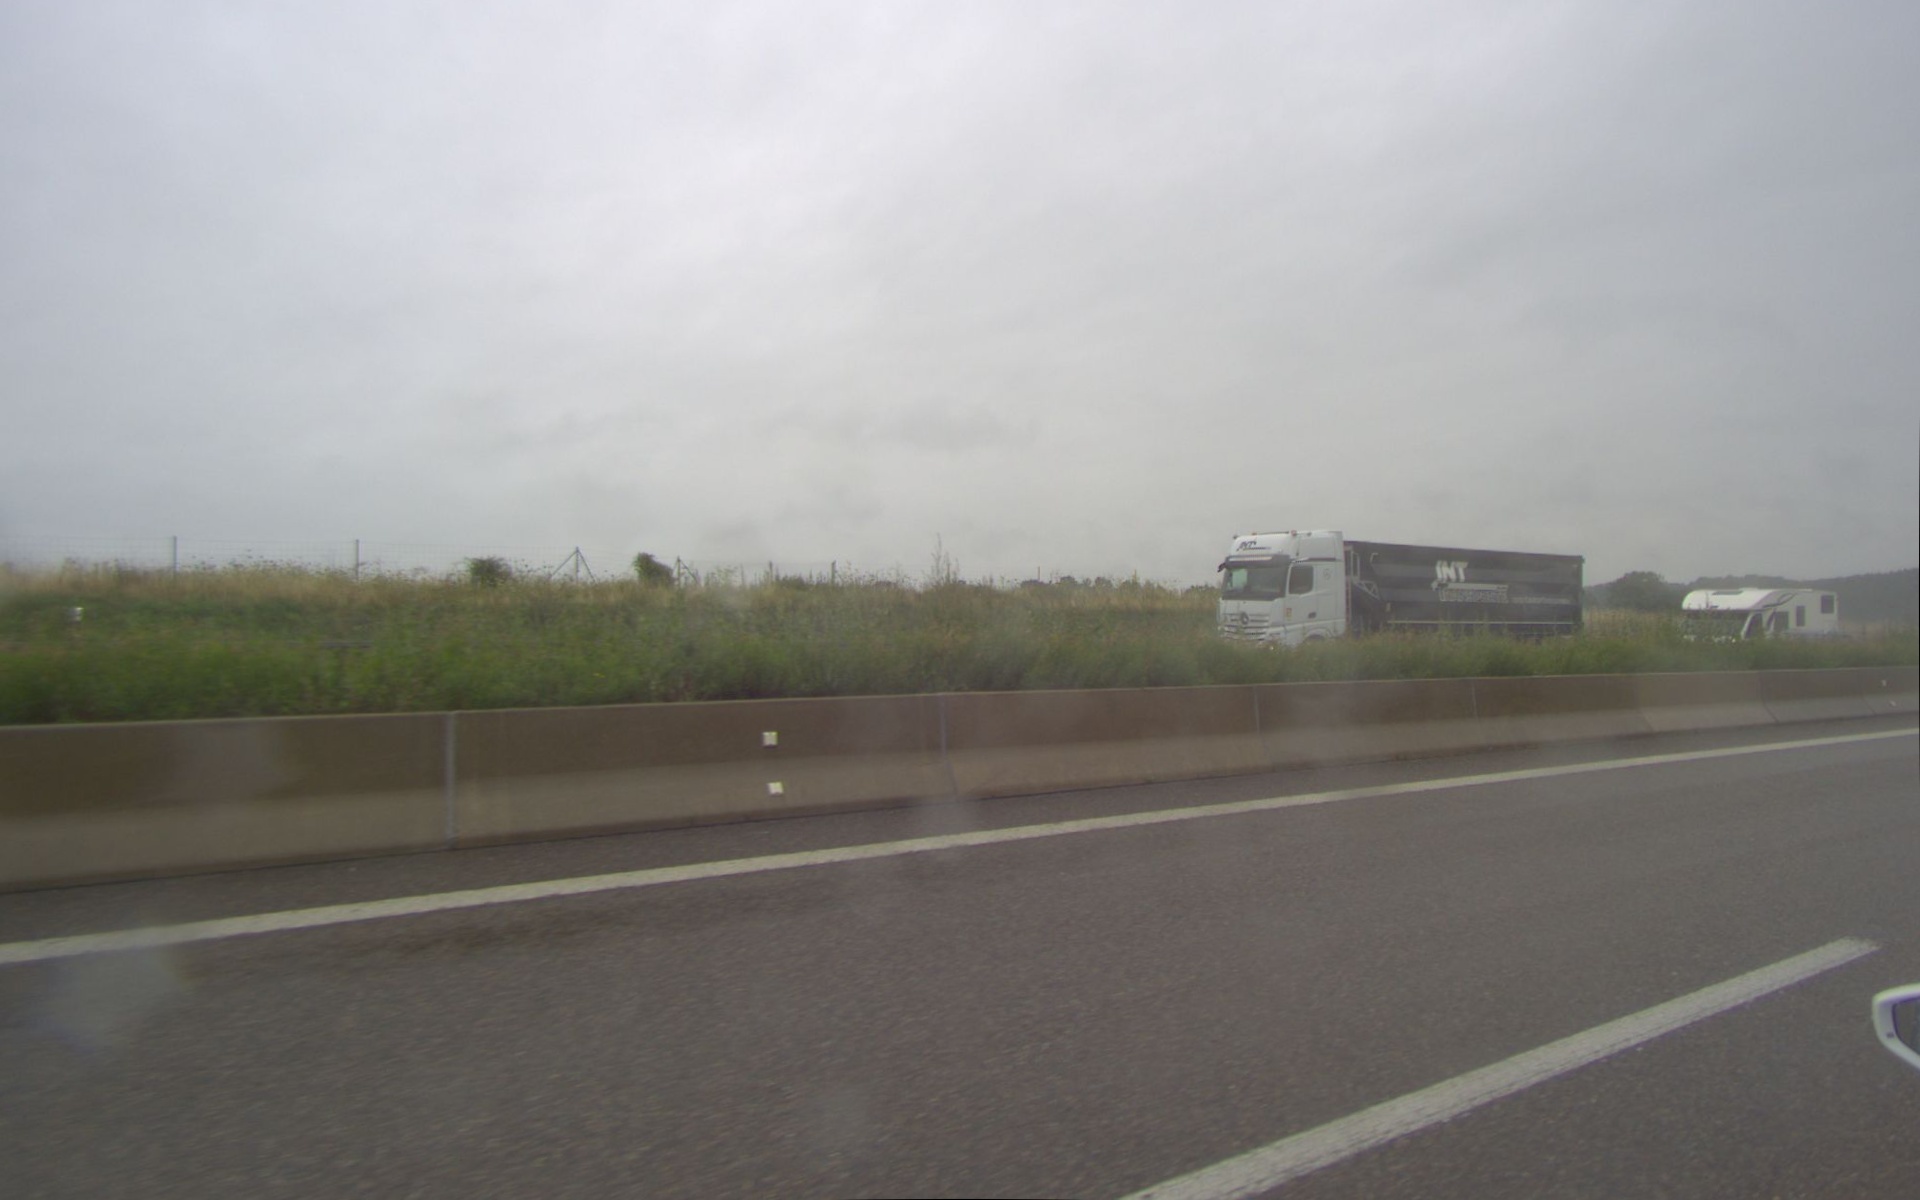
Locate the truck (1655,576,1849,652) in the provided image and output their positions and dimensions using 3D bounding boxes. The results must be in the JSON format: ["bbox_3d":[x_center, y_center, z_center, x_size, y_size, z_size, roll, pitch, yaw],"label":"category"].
[{"bbox_3d":[26.180,0.501,33.114,7.337,2.183,2.463,3,-1,-30],"label":"truck"}]

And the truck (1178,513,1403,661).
[{"bbox_3d":[9.182,-0.258,27.839,5.672,3.655,2.766,3,-1,-30],"label":"truck"}]

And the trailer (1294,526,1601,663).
[{"bbox_3d":[15.460,0.017,31.391,11.014,3.668,2.752,3,-1,-29],"label":"trailer"}]
